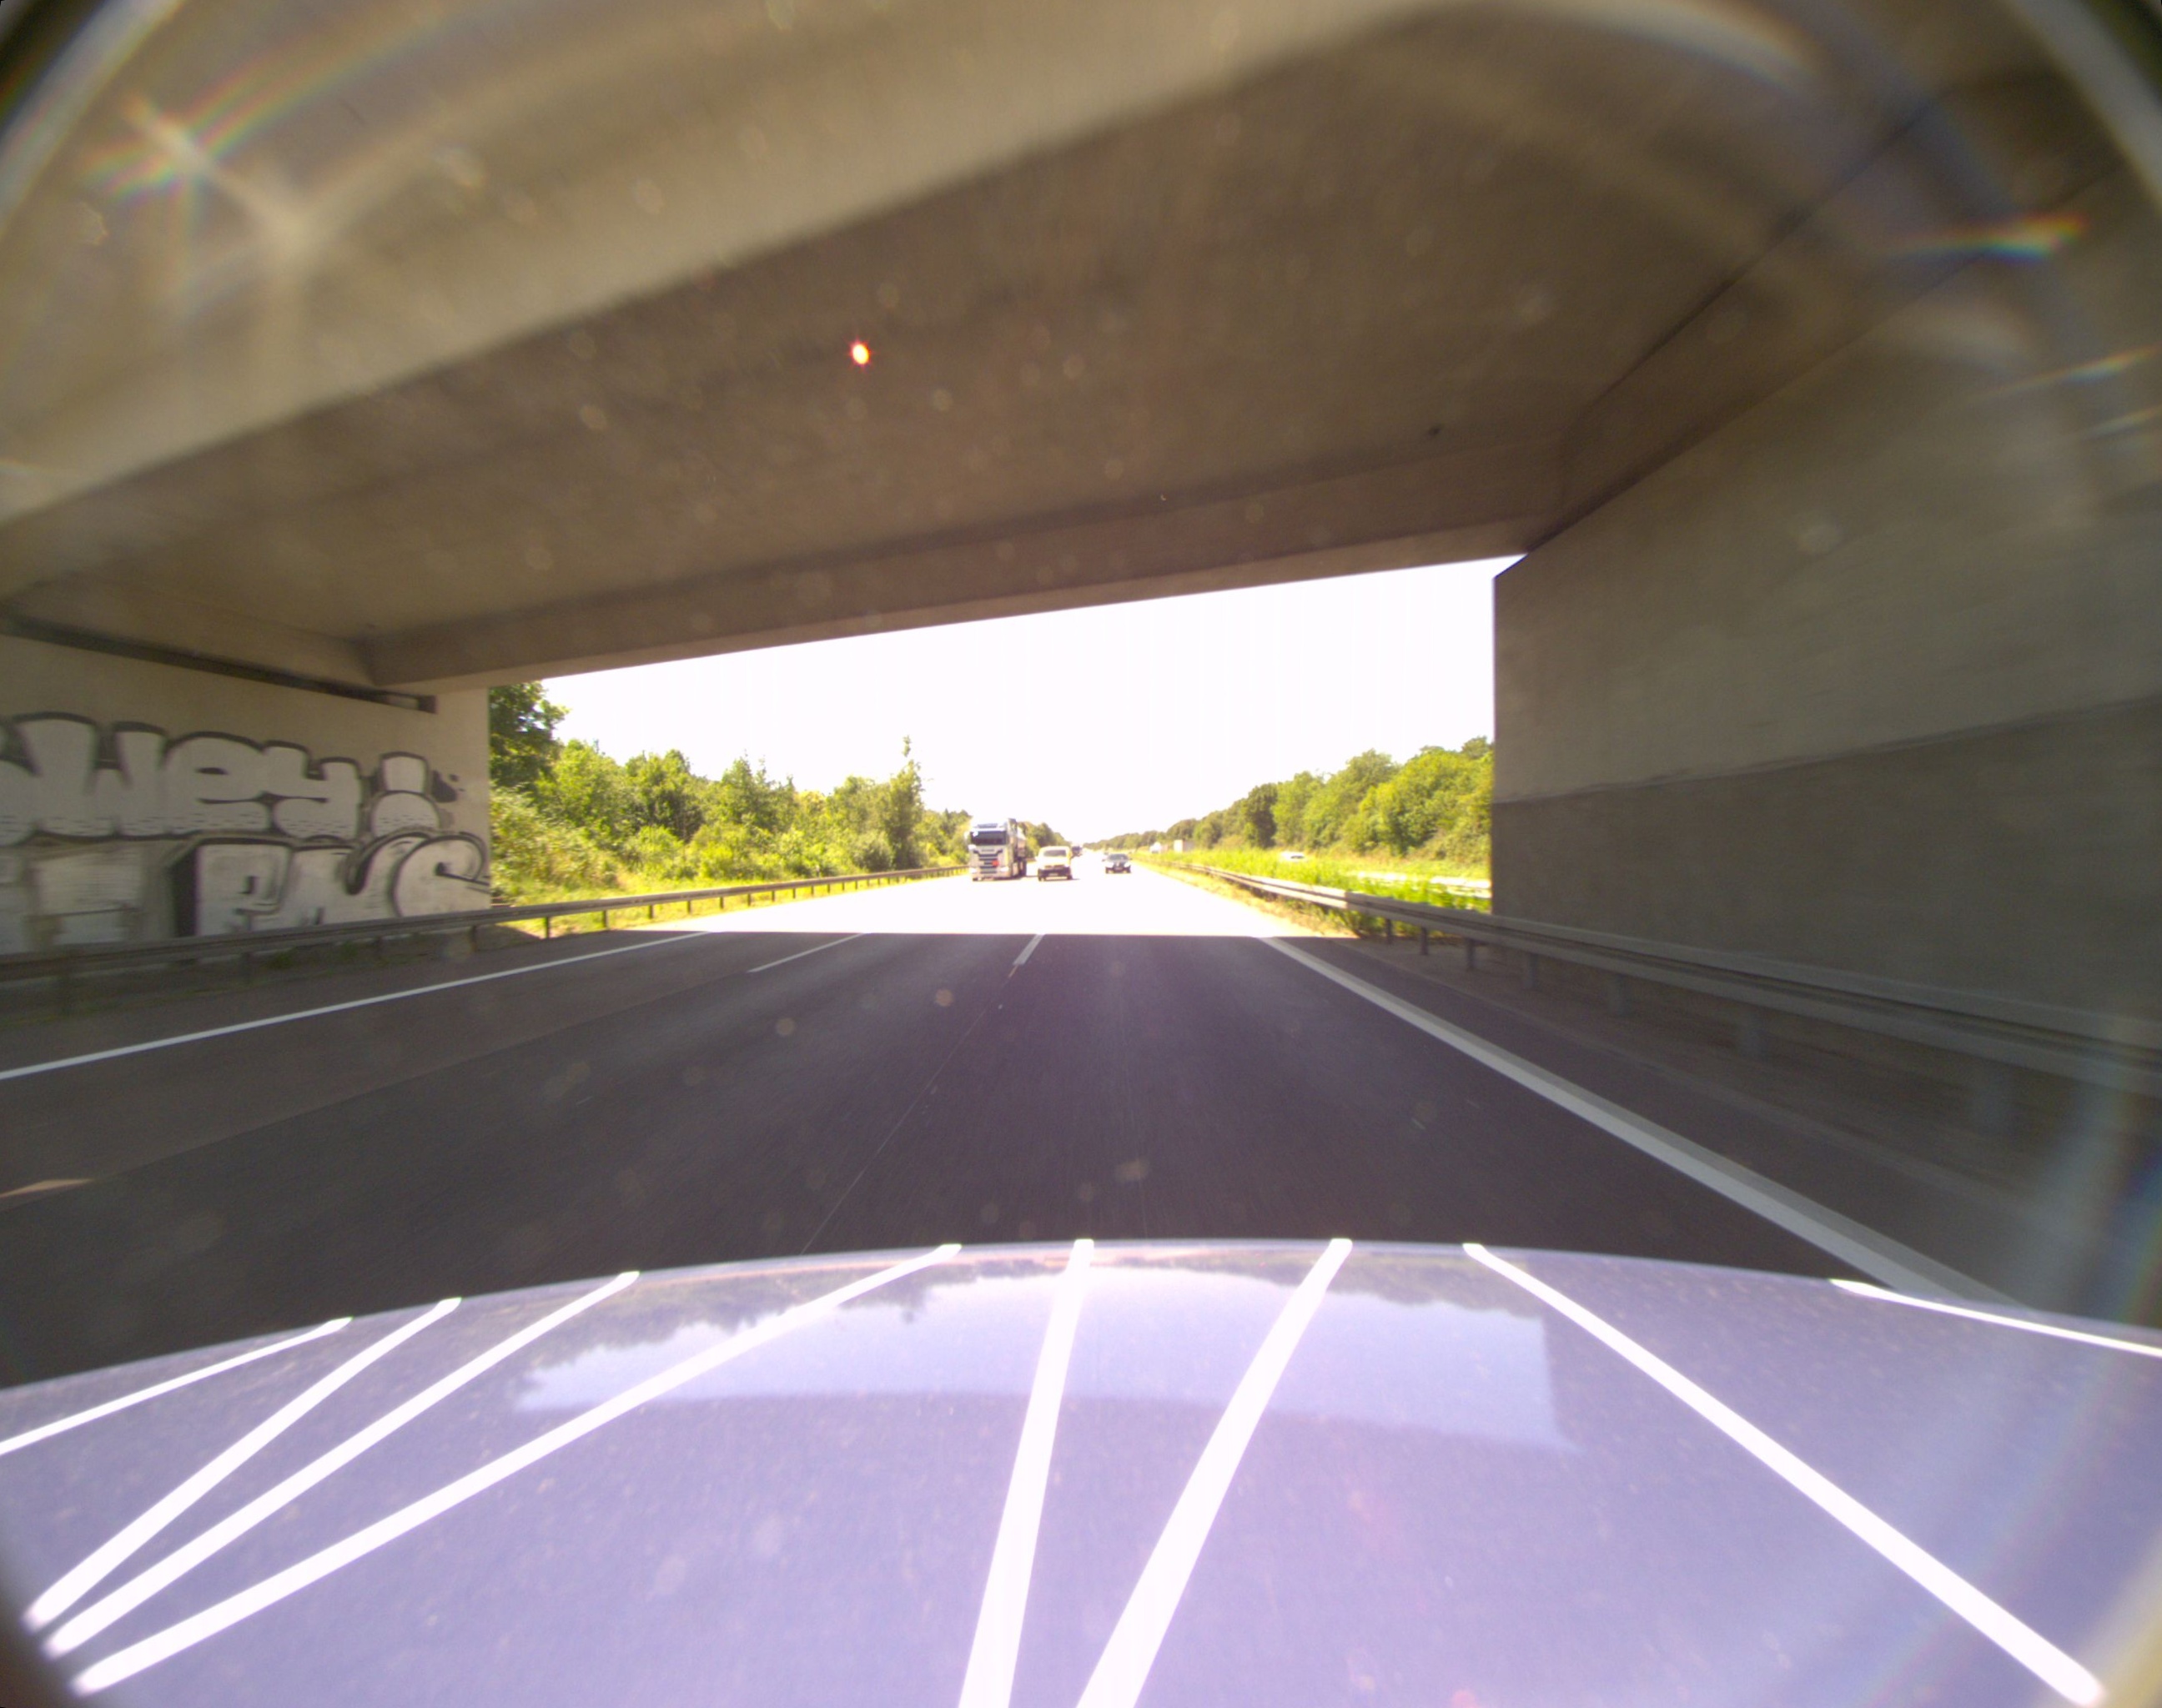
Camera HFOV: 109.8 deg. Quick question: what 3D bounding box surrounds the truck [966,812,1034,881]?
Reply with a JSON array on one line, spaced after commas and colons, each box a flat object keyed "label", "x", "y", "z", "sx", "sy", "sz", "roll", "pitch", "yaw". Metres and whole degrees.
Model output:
[{"label": "truck", "x": -5.304, "y": -0.538, "z": 52.588, "sx": 2.805, "sy": 4.023, "sz": 13.353, "roll": -3, "pitch": 1, "yaw": 1}]

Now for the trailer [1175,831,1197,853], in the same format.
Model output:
[{"label": "trailer", "x": 22.376, "y": -2.528, "z": 162.779, "sx": 3.152, "sy": 4.224, "sz": 14.479, "roll": -3, "pitch": 1, "yaw": 2}]

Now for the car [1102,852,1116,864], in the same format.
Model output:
[{"label": "car", "x": 4.047, "y": 0.579, "z": 109.821, "sx": 1.894, "sy": 1.541, "sz": 4.039, "roll": 1, "pitch": 1, "yaw": 1}]

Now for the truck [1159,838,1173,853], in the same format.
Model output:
[{"label": "truck", "x": 23.987, "y": -2.380, "z": 214.383, "sx": 3.201, "sy": 4.125, "sz": 5.943, "roll": -3, "pitch": 1, "yaw": 1}]

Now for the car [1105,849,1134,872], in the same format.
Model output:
[{"label": "car", "x": 2.695, "y": 0.458, "z": 54.065, "sx": 1.894, "sy": 1.541, "sz": 4.039, "roll": 1, "pitch": 1, "yaw": 1}]

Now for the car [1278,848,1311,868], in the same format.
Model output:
[{"label": "car", "x": 15.300, "y": 0.268, "z": 54.714, "sx": 1.398, "sy": 1.245, "sz": 3.585, "roll": -4, "pitch": 1, "yaw": 2}]

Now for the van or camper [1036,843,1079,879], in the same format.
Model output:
[{"label": "van or camper", "x": -1.326, "y": 0.358, "z": 44.953, "sx": 2.063, "sy": 1.992, "sz": 5.884, "roll": -1, "pitch": 1, "yaw": 2}]

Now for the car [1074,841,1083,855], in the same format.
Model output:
[{"label": "car", "x": -0.736, "y": -1.827, "z": 229.484, "sx": 2.298, "sy": 3.886, "sz": 9.268, "roll": 1, "pitch": 1, "yaw": 1}]

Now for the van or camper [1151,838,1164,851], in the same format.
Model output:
[{"label": "van or camper", "x": 19.182, "y": -2.403, "z": 191.659, "sx": 2.619, "sy": 2.949, "sz": 7.859, "roll": -3, "pitch": 1, "yaw": 3}]

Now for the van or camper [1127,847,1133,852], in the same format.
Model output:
[{"label": "van or camper", "x": 16.726, "y": -1.457, "z": 259.233, "sx": 1.998, "sy": 1.740, "sz": 5.058, "roll": -1, "pitch": 1, "yaw": 2}]
